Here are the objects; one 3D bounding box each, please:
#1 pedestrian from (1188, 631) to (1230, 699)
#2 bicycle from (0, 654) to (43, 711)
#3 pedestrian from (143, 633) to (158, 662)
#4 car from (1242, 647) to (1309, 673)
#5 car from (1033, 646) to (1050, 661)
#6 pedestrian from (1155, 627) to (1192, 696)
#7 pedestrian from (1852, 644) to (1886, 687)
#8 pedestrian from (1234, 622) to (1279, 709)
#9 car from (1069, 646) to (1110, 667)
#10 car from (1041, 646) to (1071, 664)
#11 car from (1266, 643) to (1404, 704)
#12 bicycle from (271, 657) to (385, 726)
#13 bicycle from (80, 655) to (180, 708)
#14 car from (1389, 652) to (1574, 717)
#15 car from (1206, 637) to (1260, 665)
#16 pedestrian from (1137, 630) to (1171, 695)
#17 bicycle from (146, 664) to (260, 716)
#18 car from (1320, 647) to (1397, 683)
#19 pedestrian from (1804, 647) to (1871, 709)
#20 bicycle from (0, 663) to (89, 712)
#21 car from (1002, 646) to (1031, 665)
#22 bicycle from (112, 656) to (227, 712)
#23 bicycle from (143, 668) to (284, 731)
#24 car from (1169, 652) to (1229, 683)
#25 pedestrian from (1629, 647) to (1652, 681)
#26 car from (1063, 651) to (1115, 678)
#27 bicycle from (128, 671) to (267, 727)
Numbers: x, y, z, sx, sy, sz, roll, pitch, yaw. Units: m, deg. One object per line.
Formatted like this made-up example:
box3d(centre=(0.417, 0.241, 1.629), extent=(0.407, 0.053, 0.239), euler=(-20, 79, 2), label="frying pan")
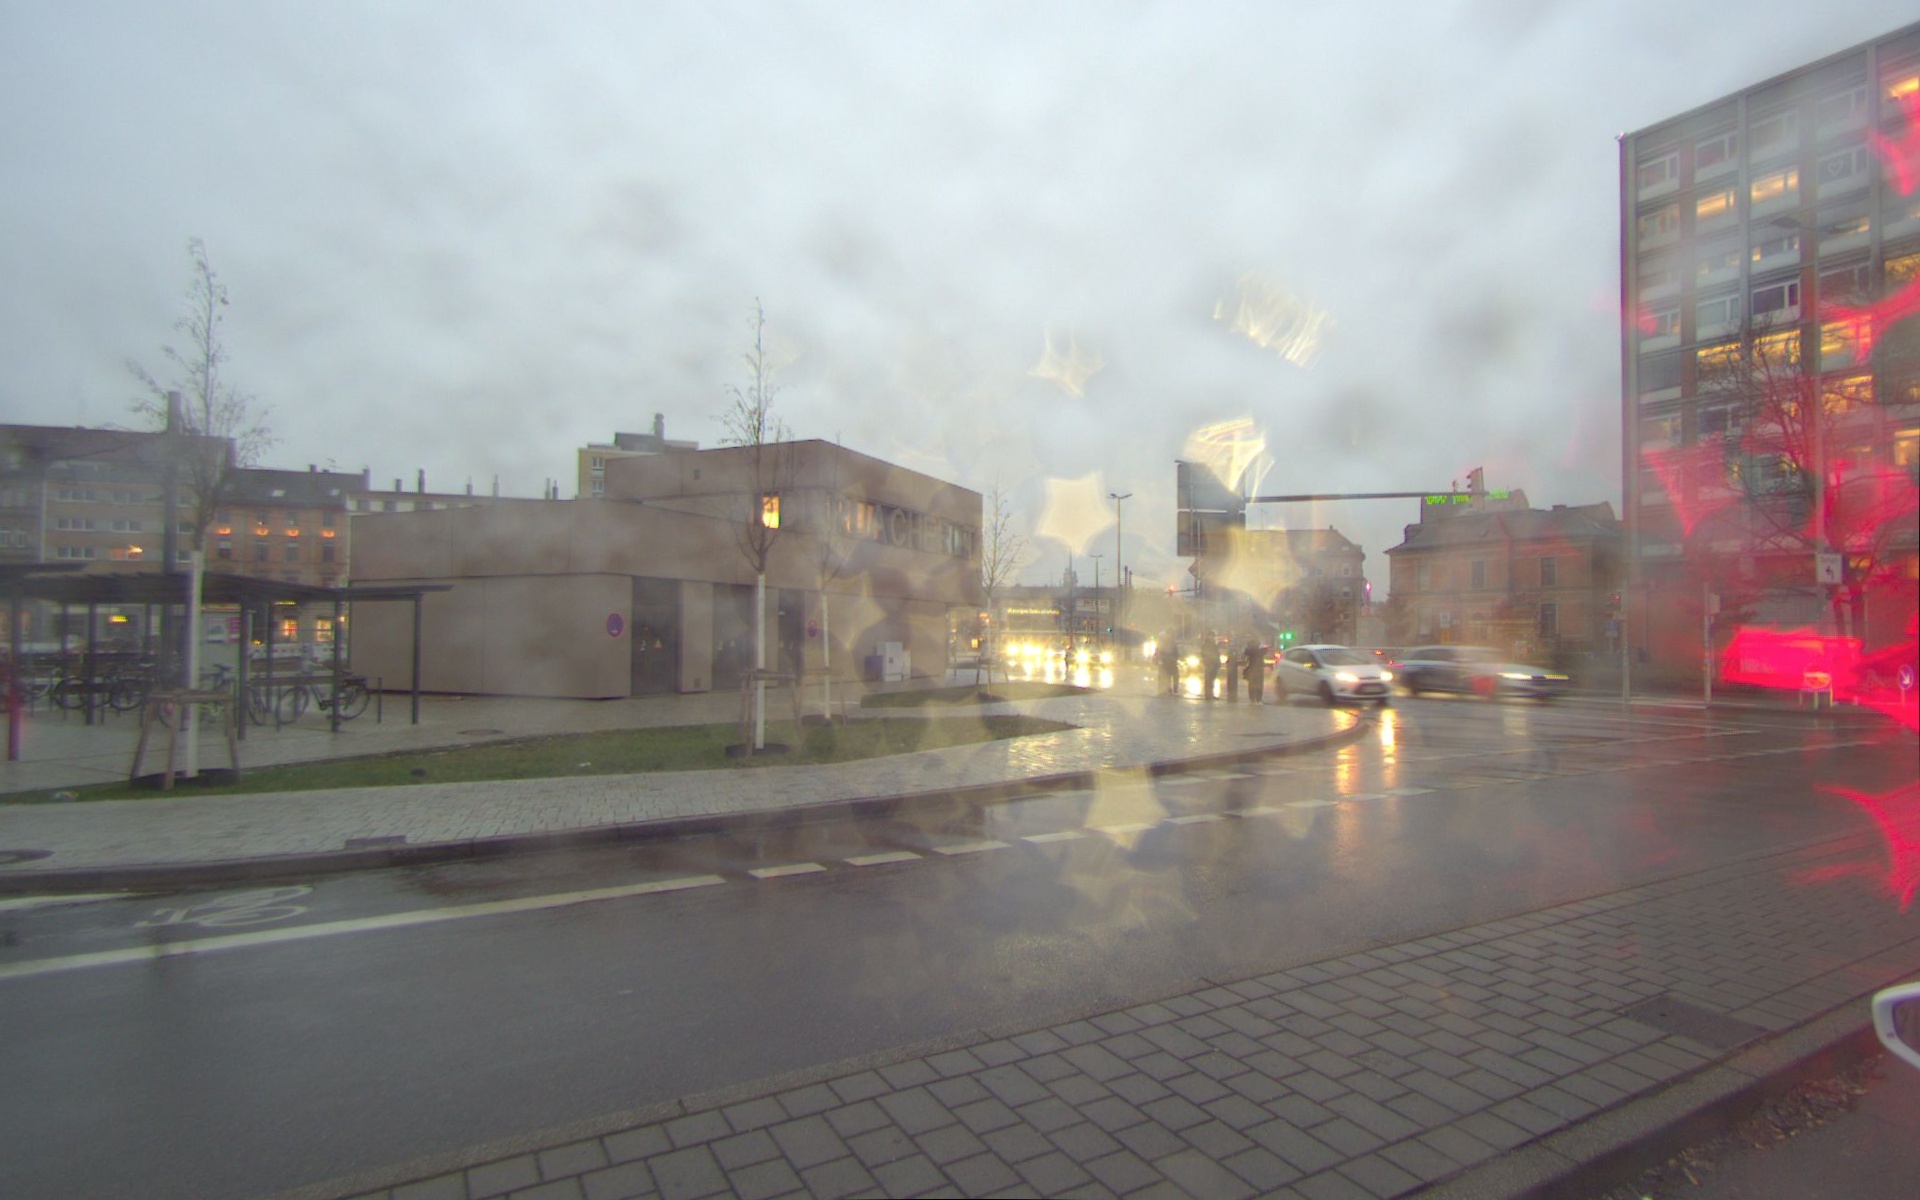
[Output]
box3d(centre=(6.593, 1.708, 26.633), extent=(0.838, 1.778, 0.659), euler=(0, -2, -14), label="pedestrian")
box3d(centre=(-19.390, 1.634, 19.846), extent=(0.466, 1.122, 1.797), euler=(1, -2, 29), label="bicycle")
box3d(centre=(-57.175, 3.335, 70.953), extent=(0.695, 2.040, 0.586), euler=(0, -2, -21), label="pedestrian")
box3d(centre=(20.097, 3.810, 63.983), extent=(3.741, 1.502, 1.602), euler=(2, 0, -1), label="car")
box3d(centre=(8.777, 5.748, 108.334), extent=(1.688, 1.616, 3.792), euler=(-1, -2, 2), label="car")
box3d(centre=(5.876, 1.687, 27.649), extent=(0.671, 1.863, 0.726), euler=(1, -3, -42), label="pedestrian")
box3d(centre=(35.820, 2.562, 39.590), extent=(0.548, 1.649, 0.760), euler=(0, -2, -15), label="pedestrian")
box3d(centre=(7.204, 1.581, 24.389), extent=(0.971, 2.047, 0.802), euler=(-1, -2, 19), label="pedestrian")
box3d(centre=(9.398, 4.085, 73.299), extent=(1.778, 1.496, 4.666), euler=(1, -3, -9), label="car")
box3d(centre=(8.447, 4.816, 88.618), extent=(1.777, 1.496, 4.669), euler=(1, -3, -6), label="car")
box3d(centre=(9.726, 1.922, 26.372), extent=(1.714, 1.467, 3.709), euler=(0, -4, -10), label="car")
box3d(centre=(-11.746, 1.677, 18.726), extent=(0.605, 1.172, 1.755), euler=(1, -2, 20), label="bicycle")
box3d(centre=(-17.682, 1.712, 21.440), extent=(0.511, 1.050, 1.573), euler=(1, -2, 19), label="bicycle")
box3d(centre=(14.158, 2.252, 27.641), extent=(1.906, 1.572, 4.686), euler=(1, -3, -14), label="car")
box3d(centre=(19.628, 3.658, 72.358), extent=(3.514, 1.850, 1.672), euler=(2, 0, 8), label="car")
box3d(centre=(5.448, 1.744, 28.204), extent=(0.544, 1.793, 0.734), euler=(2, -3, -43), label="pedestrian")
box3d(centre=(-15.176, 1.780, 20.181), extent=(0.466, 0.968, 1.767), euler=(1, -2, 29), label="bicycle")
box3d(centre=(20.503, 3.314, 51.821), extent=(1.795, 1.589, 3.991), euler=(2, 0, -11), label="car")
box3d(centre=(27.496, 2.427, 31.501), extent=(1.117, 1.867, 1.004), euler=(-2, -2, -2), label="pedestrian")
box3d(centre=(-18.504, 1.734, 19.997), extent=(0.466, 0.903, 1.693), euler=(1, -2, 24), label="bicycle")
box3d(centre=(4.859, 4.766, 87.159), extent=(1.742, 1.598, 3.995), euler=(0, -2, -8), label="car")
box3d(centre=(-16.526, 1.737, 21.046), extent=(0.466, 1.087, 1.830), euler=(1, -2, 26), label="bicycle")
box3d(centre=(-12.932, 1.704, 17.466), extent=(0.466, 0.989, 1.923), euler=(1, -2, 29), label="bicycle")
box3d(centre=(12.390, 3.507, 52.363), extent=(1.777, 1.496, 3.965), euler=(1, -3, -7), label="car")
box3d(centre=(33.917, 3.177, 50.051), extent=(0.626, 1.710, 0.640), euler=(0, -2, -13), label="pedestrian")
box3d(centre=(7.751, 3.859, 60.700), extent=(1.779, 1.496, 4.584), euler=(1, -3, -11), label="car")
box3d(centre=(-13.582, 1.739, 17.958), extent=(0.466, 0.903, 1.923), euler=(1, -2, 29), label="bicycle")
